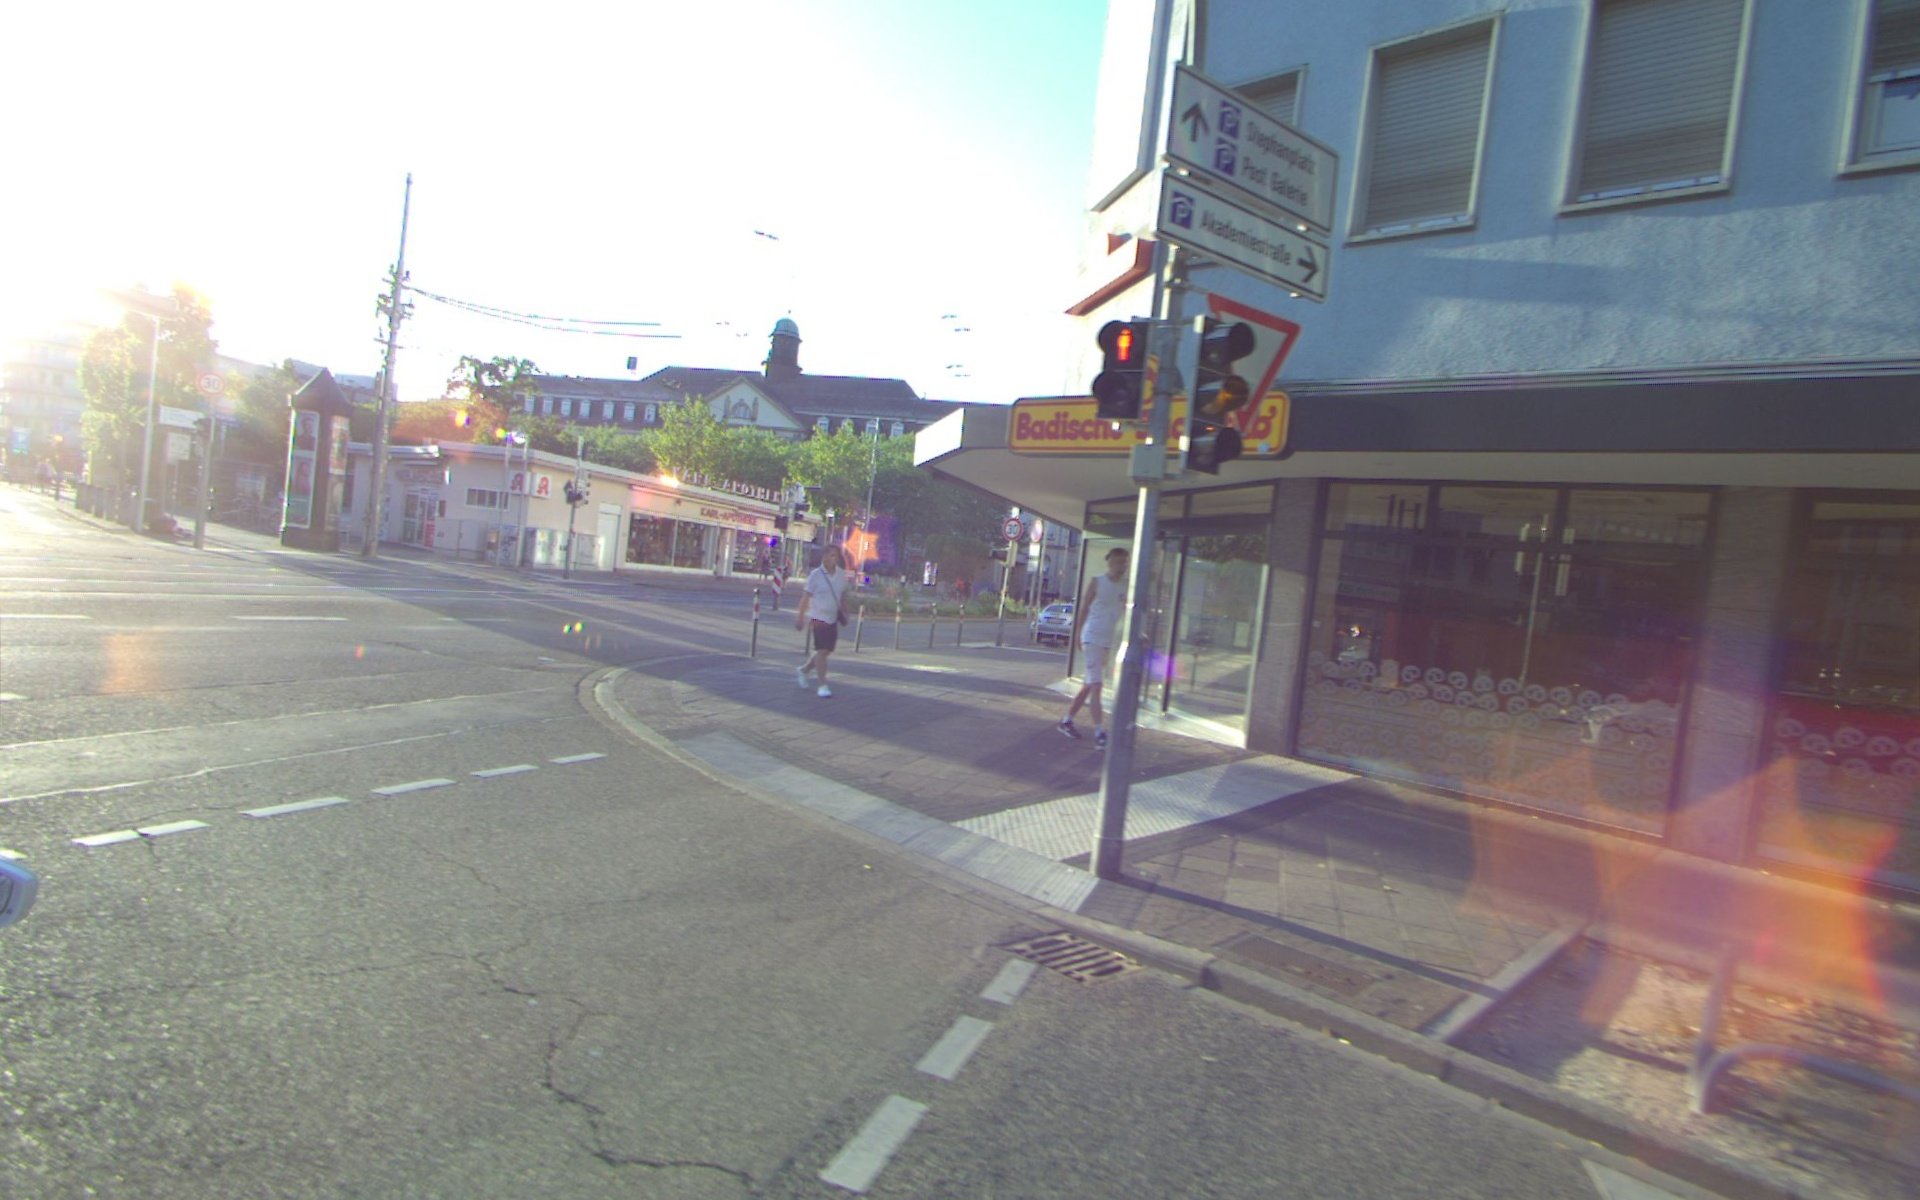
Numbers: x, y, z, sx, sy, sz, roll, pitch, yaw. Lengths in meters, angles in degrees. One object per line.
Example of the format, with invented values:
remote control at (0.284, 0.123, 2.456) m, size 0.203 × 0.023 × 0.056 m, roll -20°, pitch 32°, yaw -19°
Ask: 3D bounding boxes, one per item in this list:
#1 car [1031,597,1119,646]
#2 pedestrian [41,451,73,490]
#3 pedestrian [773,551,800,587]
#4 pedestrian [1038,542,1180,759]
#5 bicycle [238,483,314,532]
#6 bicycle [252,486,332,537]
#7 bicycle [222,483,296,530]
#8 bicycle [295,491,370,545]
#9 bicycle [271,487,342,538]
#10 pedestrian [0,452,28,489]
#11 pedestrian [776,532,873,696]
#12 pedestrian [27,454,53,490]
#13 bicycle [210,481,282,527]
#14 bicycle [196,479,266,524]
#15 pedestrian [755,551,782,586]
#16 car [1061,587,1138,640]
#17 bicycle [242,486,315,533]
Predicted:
car at (3.846, 0.712, 33.187) m, size 1.815 × 1.311 × 3.997 m, roll 7°, pitch 1°, yaw 21°
pedestrian at (-49.712, -7.117, 55.384) m, size 0.980 × 1.983 × 0.802 m, roll 5°, pitch 3°, yaw -21°
pedestrian at (-8.396, -1.508, 48.766) m, size 0.791 × 1.634 × 0.993 m, roll 6°, pitch 3°, yaw 18°
pedestrian at (1.383, 0.445, 9.512) m, size 0.794 × 1.912 × 0.989 m, roll 4°, pitch 3°, yaw -19°
bicycle at (-26.049, -3.525, 38.350) m, size 0.672 × 1.542 × 2.216 m, roll 9°, pitch 3°, yaw 43°
bicycle at (-24.228, -3.202, 36.511) m, size 0.672 × 1.542 × 2.216 m, roll 9°, pitch 3°, yaw 43°
bicycle at (-27.795, -3.693, 39.912) m, size 0.672 × 1.542 × 2.216 m, roll 9°, pitch 3°, yaw 43°
bicycle at (-20.939, -2.711, 33.581) m, size 0.472 × 1.543 × 1.981 m, roll 9°, pitch 3°, yaw 42°
bicycle at (-23.340, -3.102, 35.964) m, size 0.473 × 1.543 × 1.980 m, roll 9°, pitch 3°, yaw 43°
pedestrian at (-50.465, -6.875, 53.473) m, size 0.975 × 1.807 × 0.806 m, roll 6°, pitch 2°, yaw 4°
pedestrian at (-1.578, 0.140, 11.550) m, size 0.794 × 1.749 × 0.989 m, roll 4°, pitch 3°, yaw -19°
pedestrian at (-49.393, -6.846, 54.033) m, size 0.798 × 1.810 × 0.985 m, roll 3°, pitch 3°, yaw -33°
bicycle at (-28.882, -3.866, 40.730) m, size 0.672 × 1.542 × 2.216 m, roll 9°, pitch 3°, yaw 43°
bicycle at (-30.263, -4.086, 41.775) m, size 2.214 × 1.542 × 0.672 m, roll 5°, pitch 3°, yaw -43°
pedestrian at (-9.317, -1.527, 49.064) m, size 0.791 × 1.634 × 0.993 m, roll 6°, pitch 3°, yaw 18°
car at (5.248, 0.526, 37.509) m, size 1.815 × 1.656 × 3.997 m, roll 7°, pitch 1°, yaw 21°
bicycle at (-26.736, -3.538, 39.502) m, size 0.672 × 1.542 × 2.216 m, roll 9°, pitch 3°, yaw 43°
